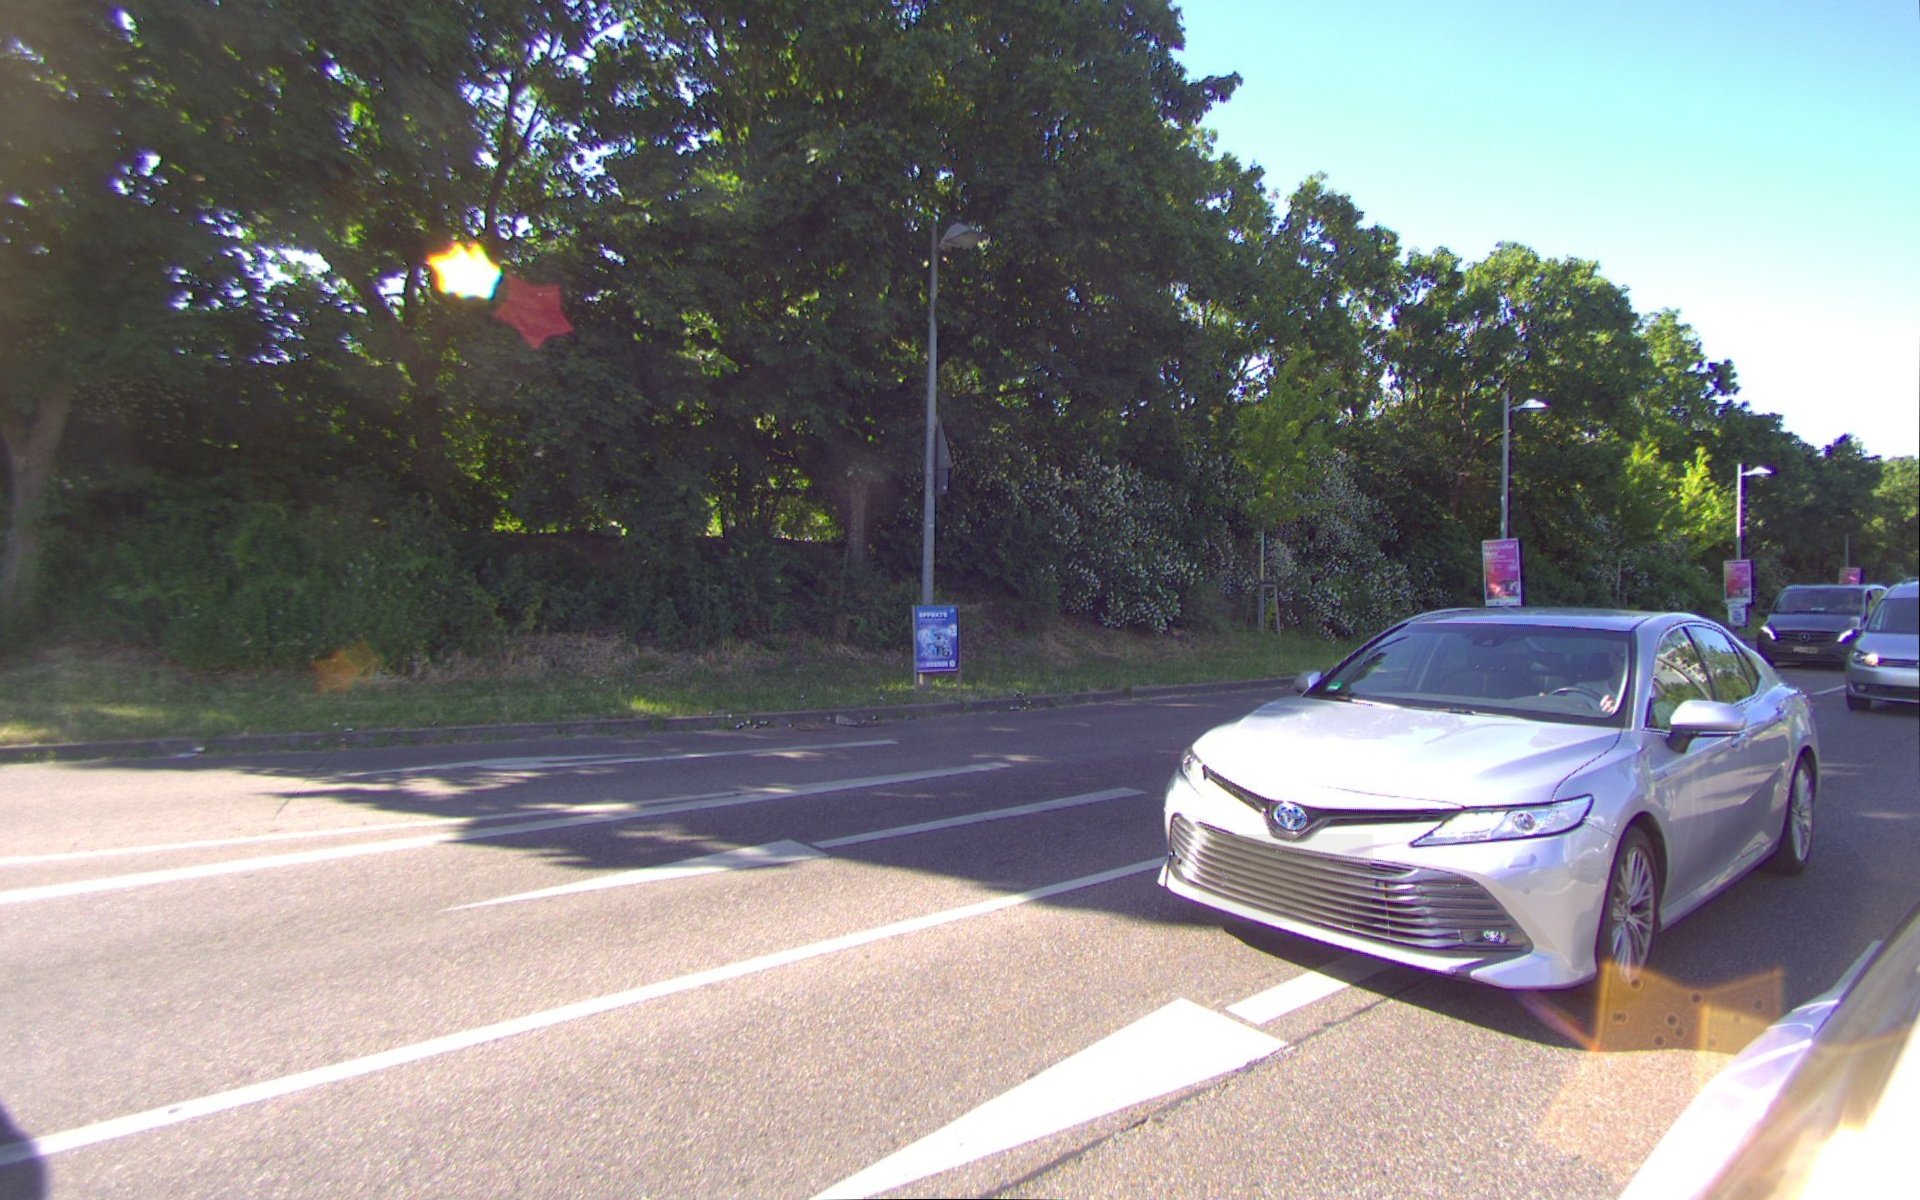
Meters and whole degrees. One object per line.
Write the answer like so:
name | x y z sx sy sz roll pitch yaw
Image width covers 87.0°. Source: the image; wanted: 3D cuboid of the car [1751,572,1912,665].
car | 20.063 0.350 23.214 5.056 1.917 1.998 0 1 -40

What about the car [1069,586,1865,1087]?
car | 2.953 0.697 5.353 4.664 1.477 2.069 0 2 -40

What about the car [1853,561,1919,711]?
car | 14.249 0.461 14.253 4.539 1.928 1.822 0 1 -40
